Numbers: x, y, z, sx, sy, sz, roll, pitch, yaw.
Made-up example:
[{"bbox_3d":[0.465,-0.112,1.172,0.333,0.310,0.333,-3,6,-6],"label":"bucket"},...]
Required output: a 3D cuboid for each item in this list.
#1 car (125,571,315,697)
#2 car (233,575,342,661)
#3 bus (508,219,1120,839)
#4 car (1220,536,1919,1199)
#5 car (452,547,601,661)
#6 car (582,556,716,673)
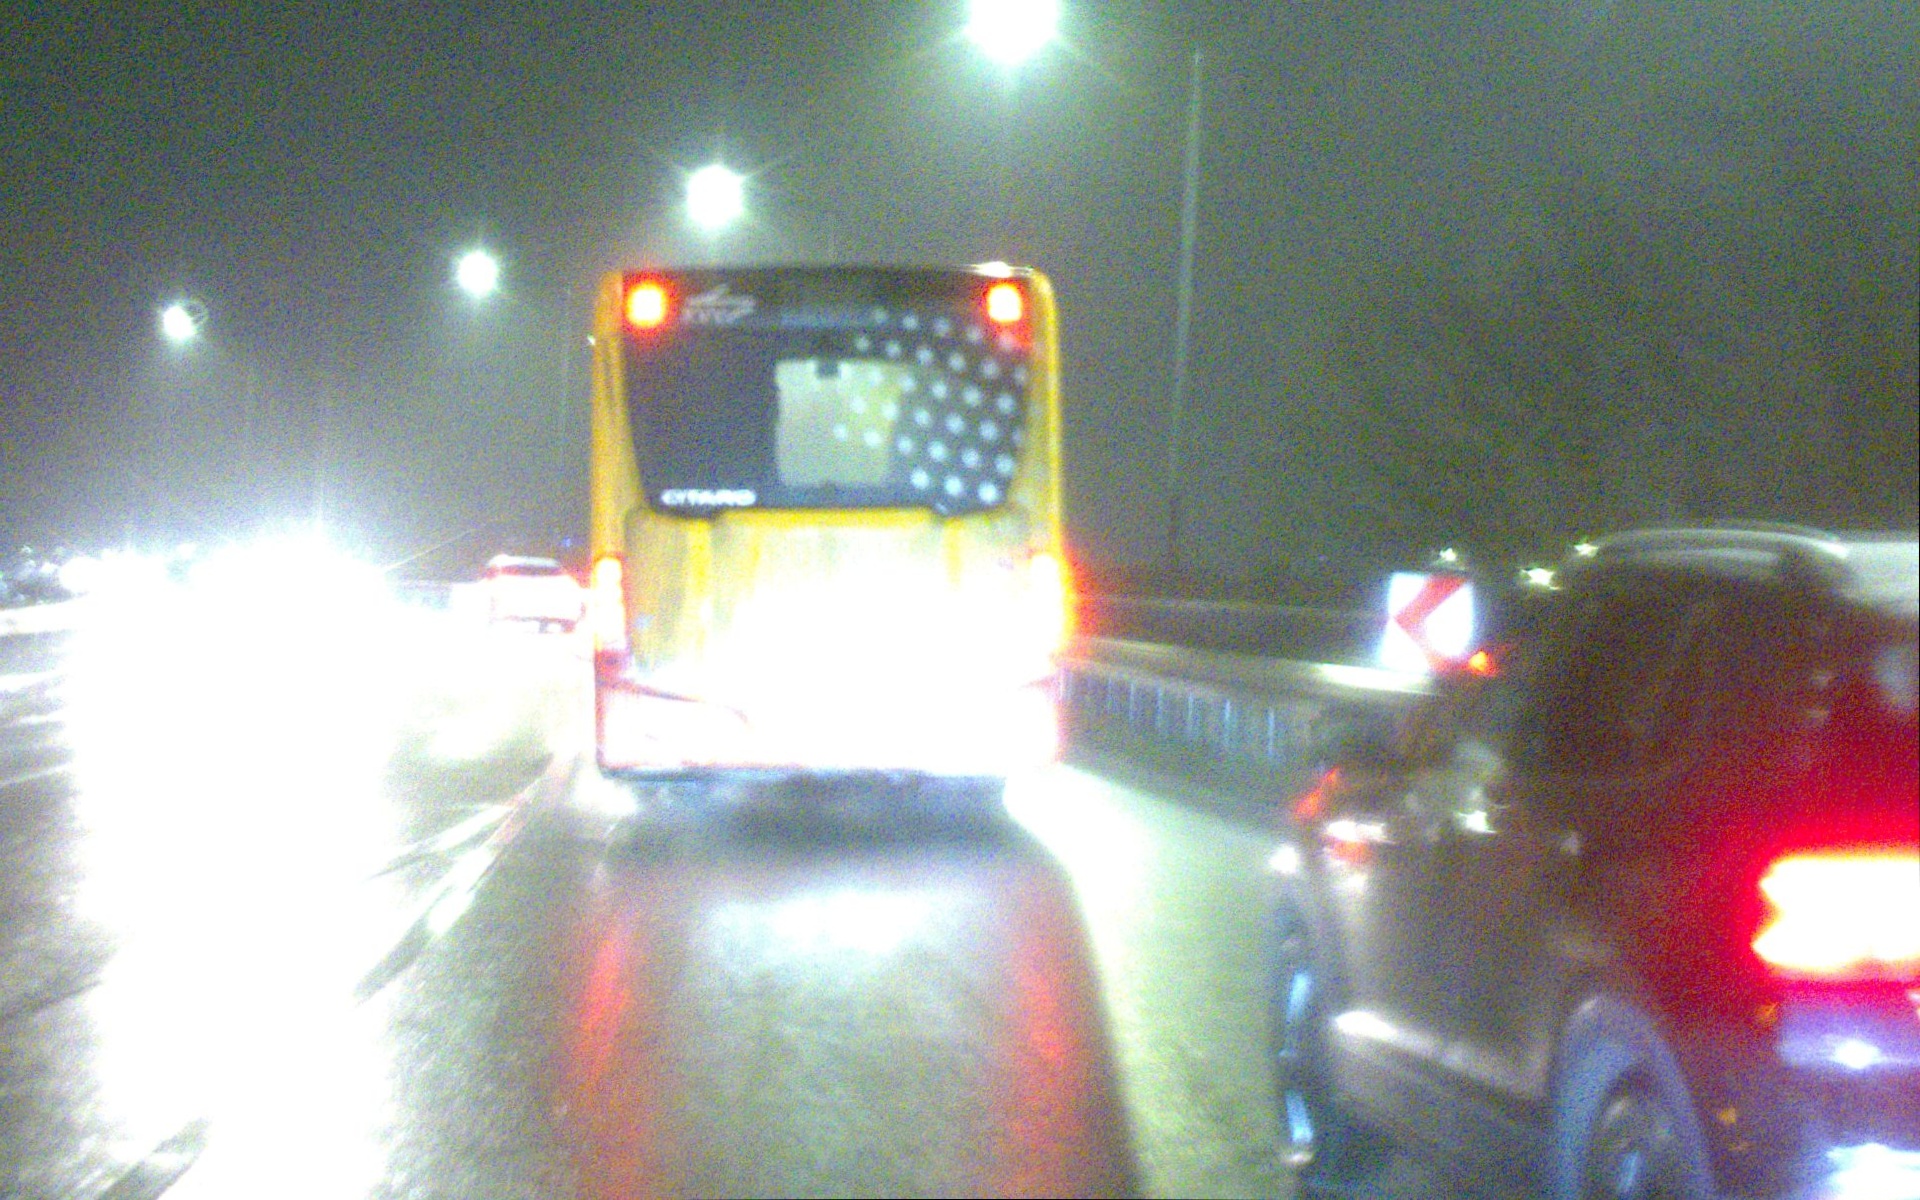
[{"bbox_3d":[-9.526,0.411,44.514,1.766,1.512,3.949,0,1,-3],"label":"car"},{"bbox_3d":[-11.812,0.290,60.545,1.766,1.422,4.220,-1,1,-10],"label":"car"},{"bbox_3d":[-1.408,-0.490,23.857,3.083,3.122,12.700,1,1,-6],"label":"bus"},{"bbox_3d":[1.780,0.681,6.932,1.855,1.581,4.001,0,0,-5],"label":"car"},{"bbox_3d":[-8.552,0.105,67.582,1.993,2.007,4.001,6,-2,-18],"label":"car"},{"bbox_3d":[-4.651,0.189,50.992,1.635,1.650,3.711,1,0,-10],"label":"car"}]
